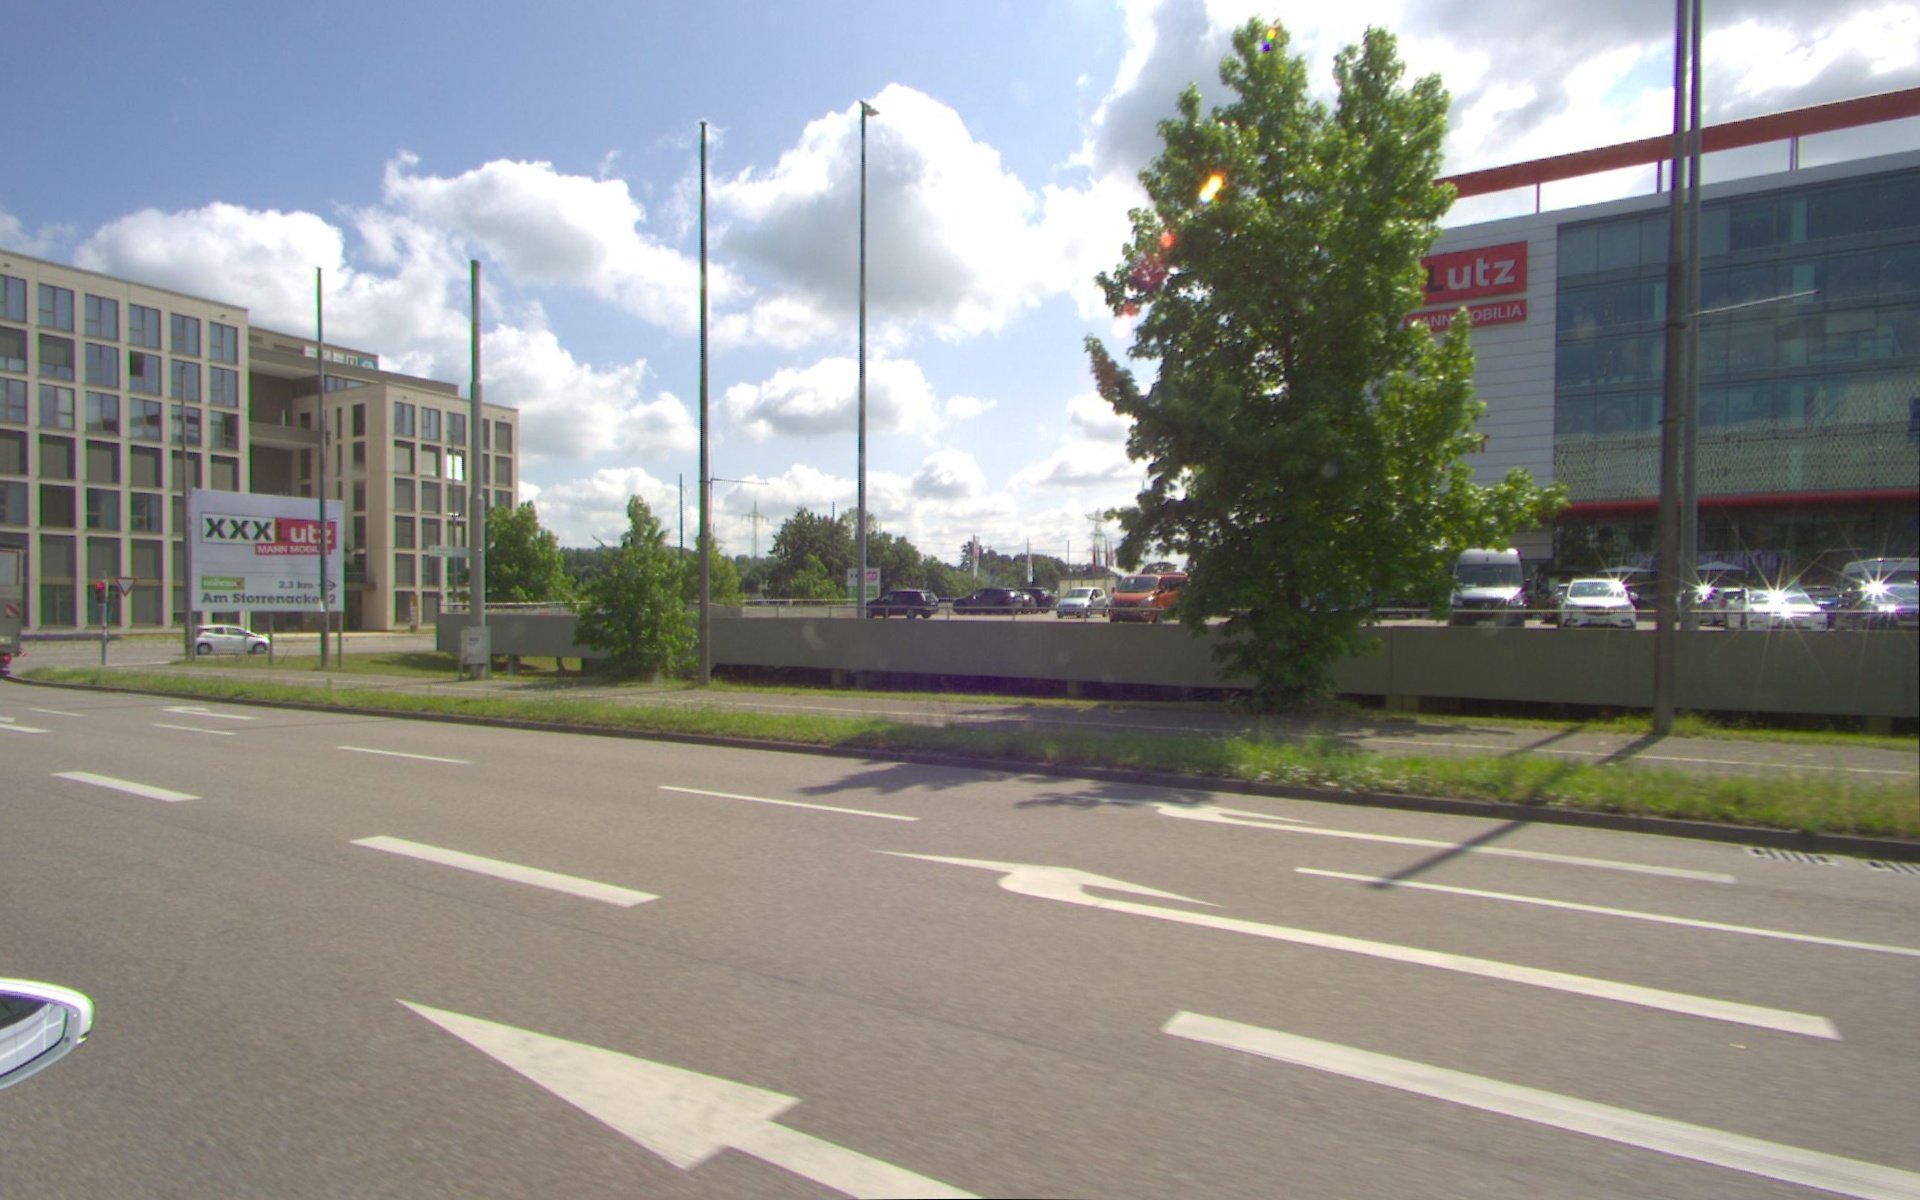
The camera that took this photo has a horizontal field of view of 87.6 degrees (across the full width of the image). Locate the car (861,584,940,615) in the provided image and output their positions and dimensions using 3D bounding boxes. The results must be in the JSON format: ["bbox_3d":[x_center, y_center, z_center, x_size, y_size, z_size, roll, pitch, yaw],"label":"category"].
[{"bbox_3d":[-3.144,-0.012,53.043,3.807,1.540,1.869,-1,-2,28],"label":"car"}]

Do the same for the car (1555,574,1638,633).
[{"bbox_3d":[18.095,0.166,28.618,1.721,1.534,3.984,-1,-2,29],"label":"car"}]

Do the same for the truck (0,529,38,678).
[{"bbox_3d":[-29.366,0.145,29.276,8.767,3.991,3.112,-1,-2,45],"label":"truck"}]

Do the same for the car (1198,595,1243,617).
[{"bbox_3d":[15.342,0.351,58.856,1.669,1.199,3.894,1,-1,29],"label":"car"}]

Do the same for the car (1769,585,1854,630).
[{"bbox_3d":[30.991,0.315,36.542,1.718,1.535,3.791,1,-1,30],"label":"car"}]

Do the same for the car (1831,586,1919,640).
[{"bbox_3d":[26.710,0.336,28.662,1.864,1.453,4.178,1,0,30],"label":"car"}]

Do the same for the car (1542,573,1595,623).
[{"bbox_3d":[24.808,-0.042,40.885,1.748,1.861,3.880,1,-1,31],"label":"car"}]

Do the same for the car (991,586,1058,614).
[{"bbox_3d":[4.268,-0.008,65.931,3.937,1.751,1.993,0,-1,28],"label":"car"}]

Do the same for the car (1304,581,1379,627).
[{"bbox_3d":[14.024,0.203,36.635,1.956,1.503,4.864,-1,-2,29],"label":"car"}]

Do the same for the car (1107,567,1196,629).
[{"bbox_3d":[7.720,-0.005,39.946,1.957,2.223,5.157,-1,-3,30],"label":"car"}]

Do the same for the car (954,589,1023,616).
[{"bbox_3d":[1.748,0.154,61.257,3.807,1.621,1.742,0,-1,28],"label":"car"}]

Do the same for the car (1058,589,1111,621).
[{"bbox_3d":[6.607,0.286,52.954,1.608,1.596,3.897,1,-1,26],"label":"car"}]

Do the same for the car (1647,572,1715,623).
[{"bbox_3d":[30.934,-0.080,43.048,1.970,2.039,3.982,1,-1,30],"label":"car"}]

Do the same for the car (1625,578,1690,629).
[{"bbox_3d":[27.102,0.166,38.998,1.748,1.861,3.880,1,-1,31],"label":"car"}]

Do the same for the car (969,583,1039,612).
[{"bbox_3d":[2.797,-0.149,63.486,3.937,1.751,1.958,0,-1,28],"label":"car"}]

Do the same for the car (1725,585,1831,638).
[{"bbox_3d":[23.977,0.310,29.491,1.700,1.453,4.178,1,1,30],"label":"car"}]

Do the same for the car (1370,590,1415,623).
[{"bbox_3d":[21.058,0.333,48.657,1.562,1.483,3.521,-1,-2,31],"label":"car"}]

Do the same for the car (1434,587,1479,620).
[{"bbox_3d":[23.521,0.184,47.363,1.611,1.461,3.892,1,-1,31],"label":"car"}]

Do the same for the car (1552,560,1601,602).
[{"bbox_3d":[27.663,-0.813,44.997,1.723,1.728,3.738,1,-1,30],"label":"car"}]

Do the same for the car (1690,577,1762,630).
[{"bbox_3d":[28.913,0.175,37.873,1.749,1.861,3.879,1,-1,32],"label":"car"}]

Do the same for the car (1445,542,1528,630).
[{"bbox_3d":[15.985,-0.296,30.370,2.030,2.396,5.655,-1,-2,29],"label":"car"}]

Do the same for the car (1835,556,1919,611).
[{"bbox_3d":[35.967,-0.593,39.081,1.970,1.976,3.982,1,-1,30],"label":"car"}]

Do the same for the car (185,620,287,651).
[{"bbox_3d":[-36.872,1.784,51.078,1.671,1.485,3.845,1,-1,32],"label":"car"}]

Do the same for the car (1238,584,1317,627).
[{"bbox_3d":[12.078,0.273,37.862,1.956,1.472,4.864,-1,-2,29],"label":"car"}]
